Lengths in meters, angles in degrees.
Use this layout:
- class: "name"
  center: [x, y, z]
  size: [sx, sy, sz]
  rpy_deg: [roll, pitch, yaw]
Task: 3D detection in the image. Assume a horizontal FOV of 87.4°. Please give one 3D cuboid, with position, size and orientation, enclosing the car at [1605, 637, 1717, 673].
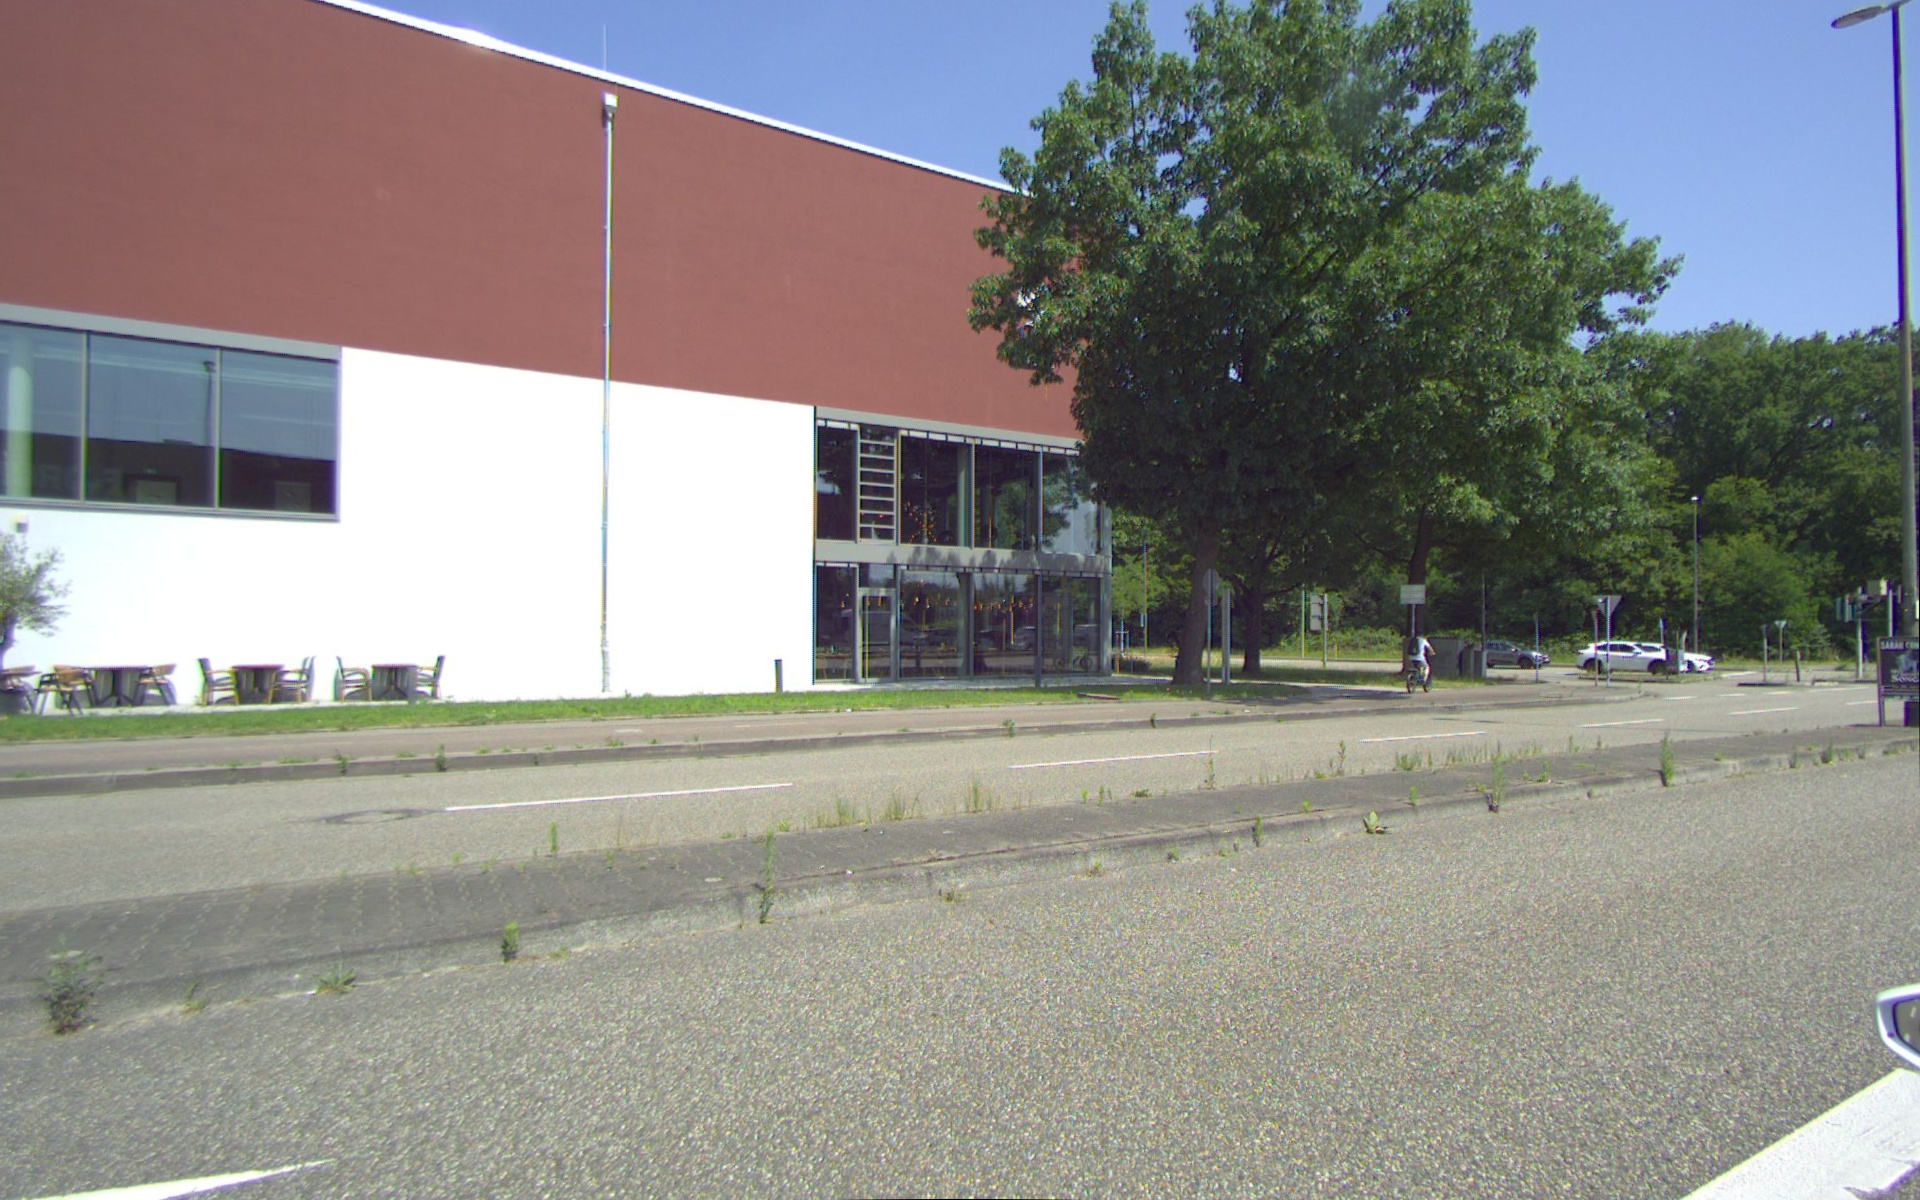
- class: "car"
  center: [36.171, 2.884, 51.901]
  size: [1.794, 1.703, 4.340]
  rpy_deg: [2, -6, -37]

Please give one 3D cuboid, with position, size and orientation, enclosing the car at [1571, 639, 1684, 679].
- class: "car"
  center: [33.023, 2.901, 49.795]
  size: [1.794, 1.704, 4.338]
  rpy_deg: [2, 0, -37]

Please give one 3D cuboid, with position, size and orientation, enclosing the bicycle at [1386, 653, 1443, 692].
- class: "bicycle"
  center: [12.195, 1.938, 26.956]
  size: [1.642, 0.982, 0.614]
  rpy_deg: [1, -2, -33]

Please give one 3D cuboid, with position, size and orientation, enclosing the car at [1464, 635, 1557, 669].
- class: "car"
  center: [31.802, 2.978, 58.141]
  size: [1.796, 1.704, 4.332]
  rpy_deg: [2, -1, -41]

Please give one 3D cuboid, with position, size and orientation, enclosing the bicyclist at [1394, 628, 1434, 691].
- class: "bicyclist"
  center: [12.202, 1.594, 27.000]
  size: [0.914, 1.652, 0.604]
  rpy_deg: [1, -2, -33]
